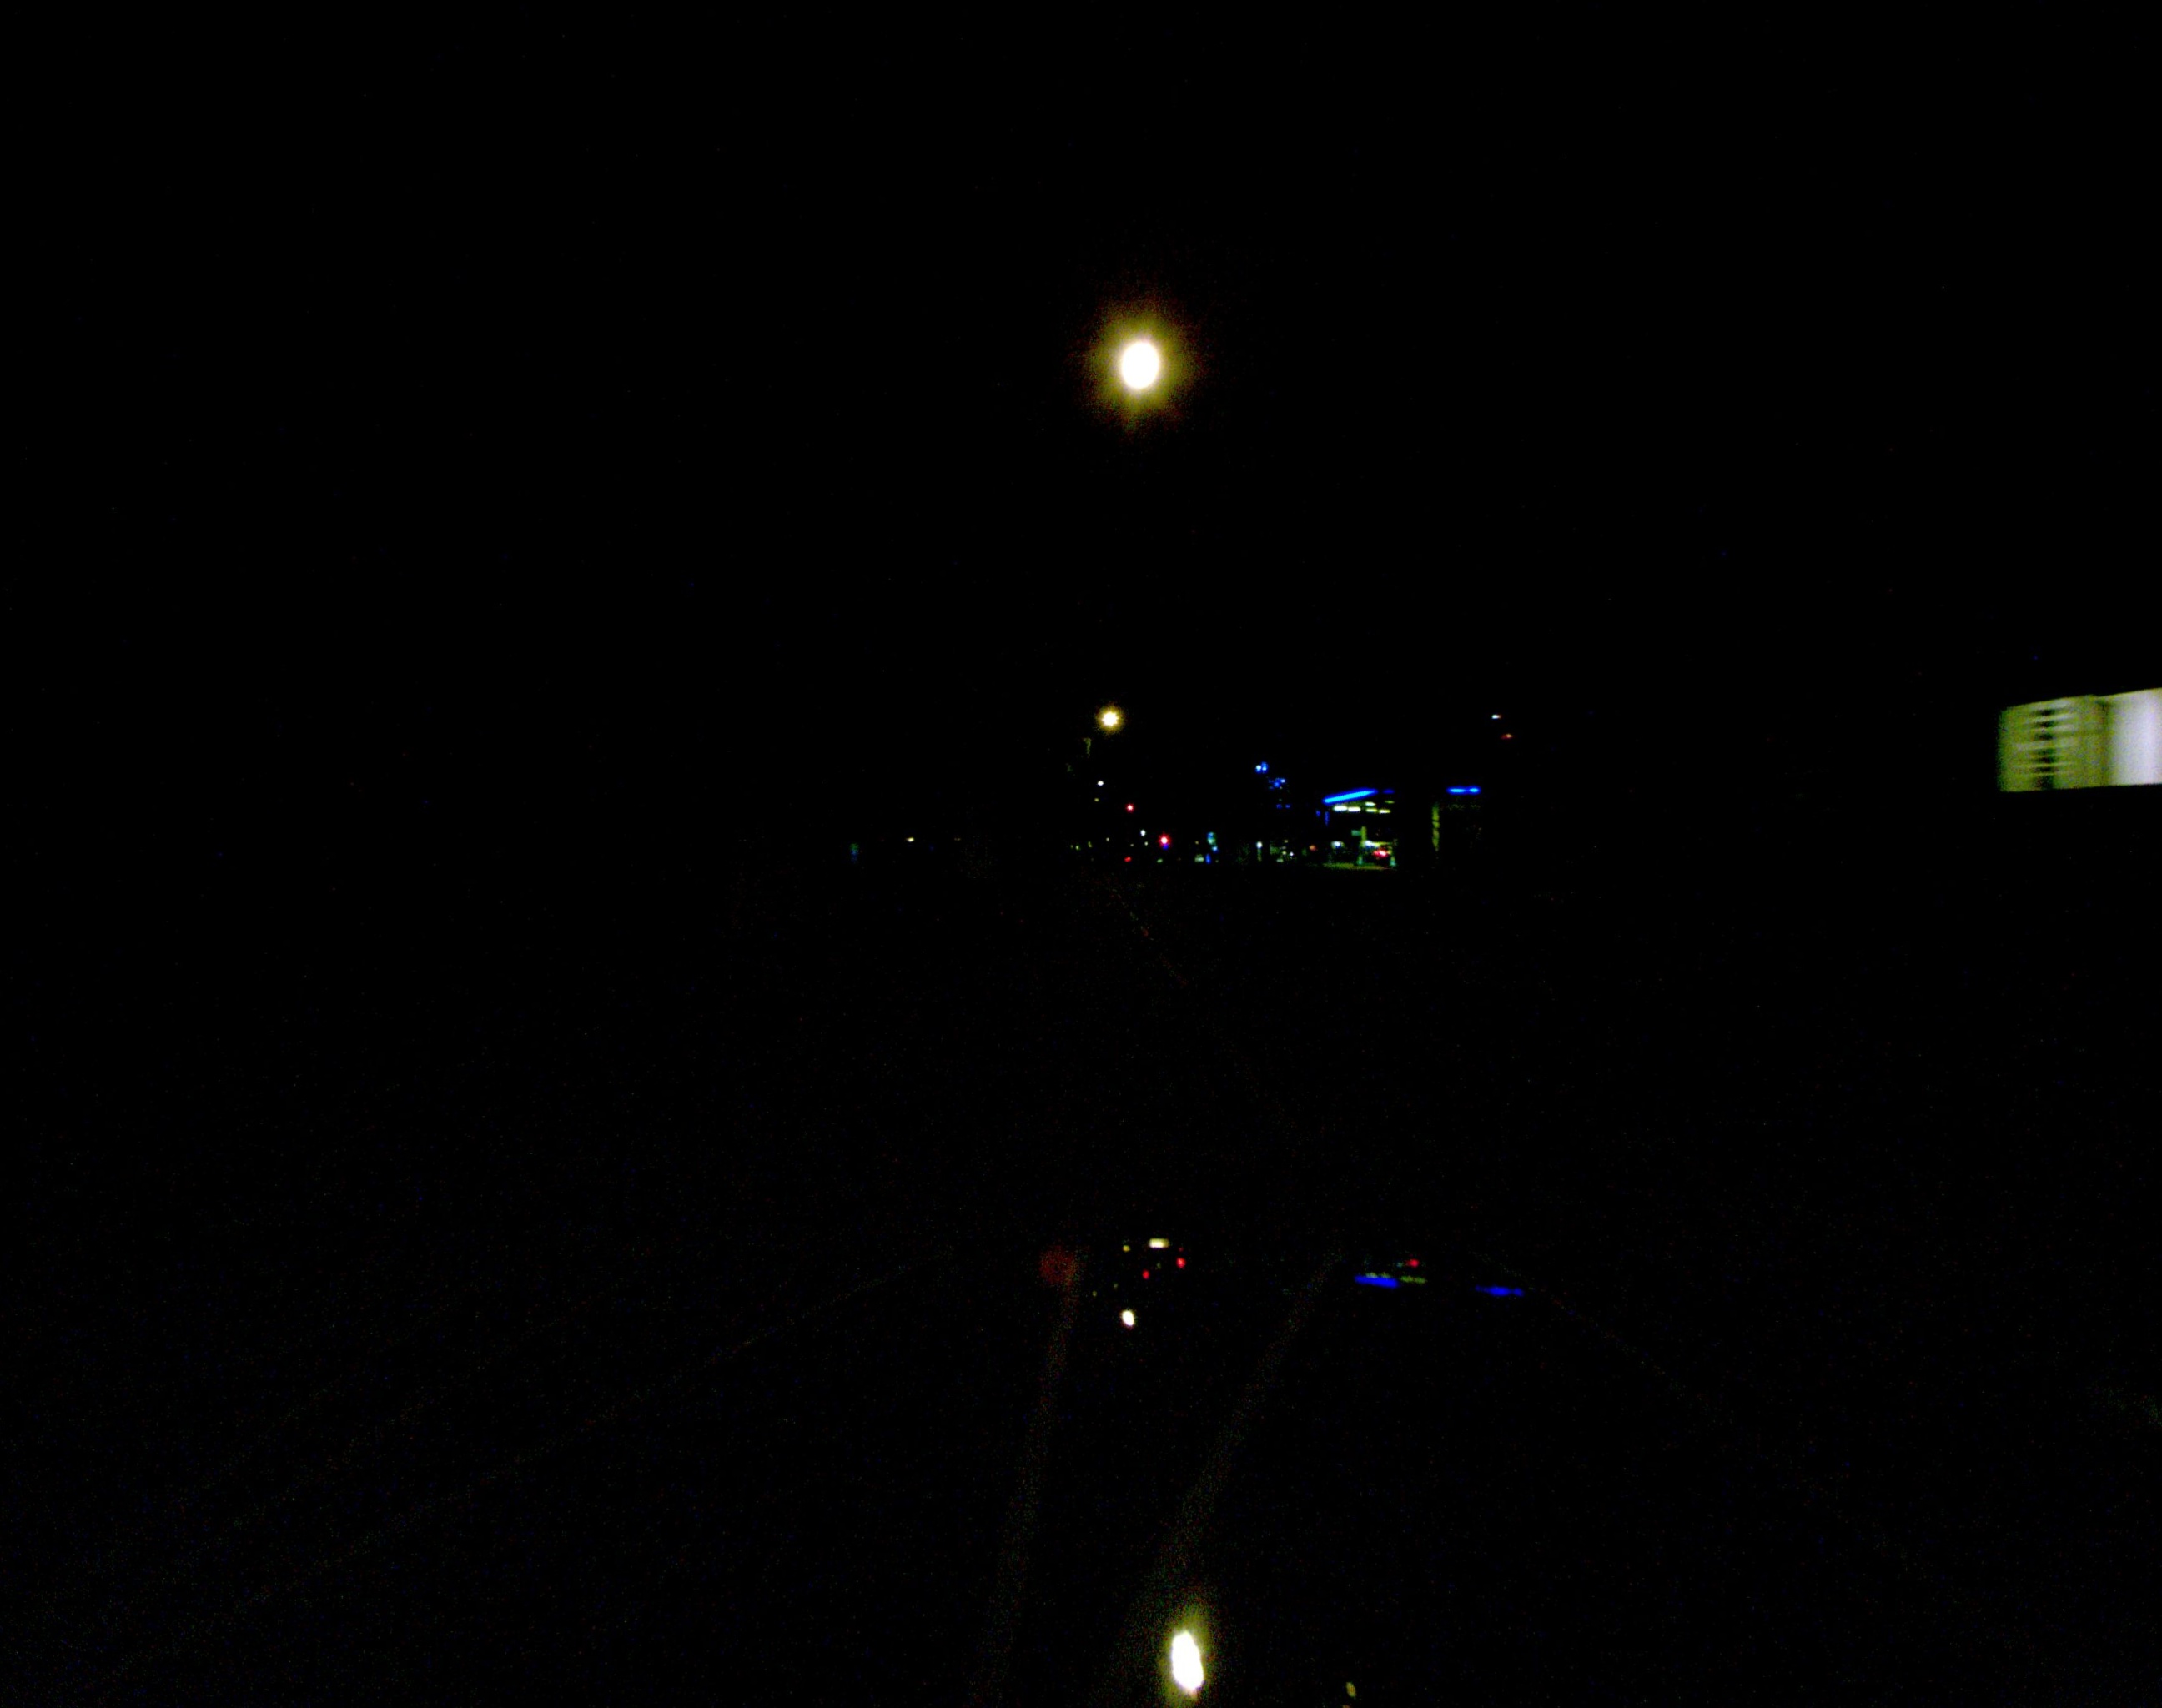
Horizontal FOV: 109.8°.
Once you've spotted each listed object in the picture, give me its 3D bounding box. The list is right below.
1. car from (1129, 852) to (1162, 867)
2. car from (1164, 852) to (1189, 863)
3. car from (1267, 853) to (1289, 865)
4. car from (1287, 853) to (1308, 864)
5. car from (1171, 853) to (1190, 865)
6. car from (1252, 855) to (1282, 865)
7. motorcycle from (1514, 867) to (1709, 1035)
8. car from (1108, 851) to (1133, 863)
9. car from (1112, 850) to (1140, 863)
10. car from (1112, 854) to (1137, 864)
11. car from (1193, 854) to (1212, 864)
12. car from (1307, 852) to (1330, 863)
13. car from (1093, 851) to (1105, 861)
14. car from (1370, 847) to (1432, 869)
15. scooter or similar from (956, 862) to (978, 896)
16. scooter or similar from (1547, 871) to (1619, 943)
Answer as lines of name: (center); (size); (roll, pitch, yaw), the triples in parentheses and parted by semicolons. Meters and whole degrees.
car: (8.280, 0.750, 98.165); (4.082, 1.848, 1.853); (-1, 1, 1)
car: (14.561, 0.570, 116.087); (3.575, 1.689, 1.634); (0, 1, 0)
car: (27.386, 0.685, 105.596); (1.864, 1.469, 4.354); (-1, 0, 0)
car: (30.106, 0.555, 105.613); (1.732, 1.469, 4.086); (-1, 0, 0)
car: (13.787, 0.678, 105.751); (1.999, 1.548, 4.386); (-1, 0, -1)
car: (28.144, 0.891, 114.758); (4.280, 1.469, 1.730); (-1, 0, -27)
motorcycle: (5.599, 0.958, 8.022); (1.909, 1.541, 0.638); (-3, 1, -19)
car: (6.175, 0.491, 119.861); (3.848, 1.781, 1.634); (0, 1, -3)
car: (6.908, 0.357, 116.456); (4.055, 1.879, 1.634); (0, 1, -3)
car: (6.627, 0.740, 115.378); (3.576, 1.619, 1.620); (0, 1, -3)
car: (16.885, 0.696, 105.723); (1.864, 1.452, 4.070); (0, 0, 0)
car: (33.112, 0.494, 105.982); (1.864, 1.469, 4.086); (-1, 0, 0)
car: (2.972, 0.327, 124.483); (1.936, 1.646, 3.833); (-1, 0, 0)
car: (23.338, 0.284, 55.497); (3.759, 1.524, 1.670); (-1, 0, 0)
scooter or similar: (-4.485, 0.973, 30.012); (0.548, 1.196, 1.910); (1, 2, 1)
scooter or similar: (8.984, 0.919, 13.654); (0.368, 1.197, 1.427); (0, 1, 1)
